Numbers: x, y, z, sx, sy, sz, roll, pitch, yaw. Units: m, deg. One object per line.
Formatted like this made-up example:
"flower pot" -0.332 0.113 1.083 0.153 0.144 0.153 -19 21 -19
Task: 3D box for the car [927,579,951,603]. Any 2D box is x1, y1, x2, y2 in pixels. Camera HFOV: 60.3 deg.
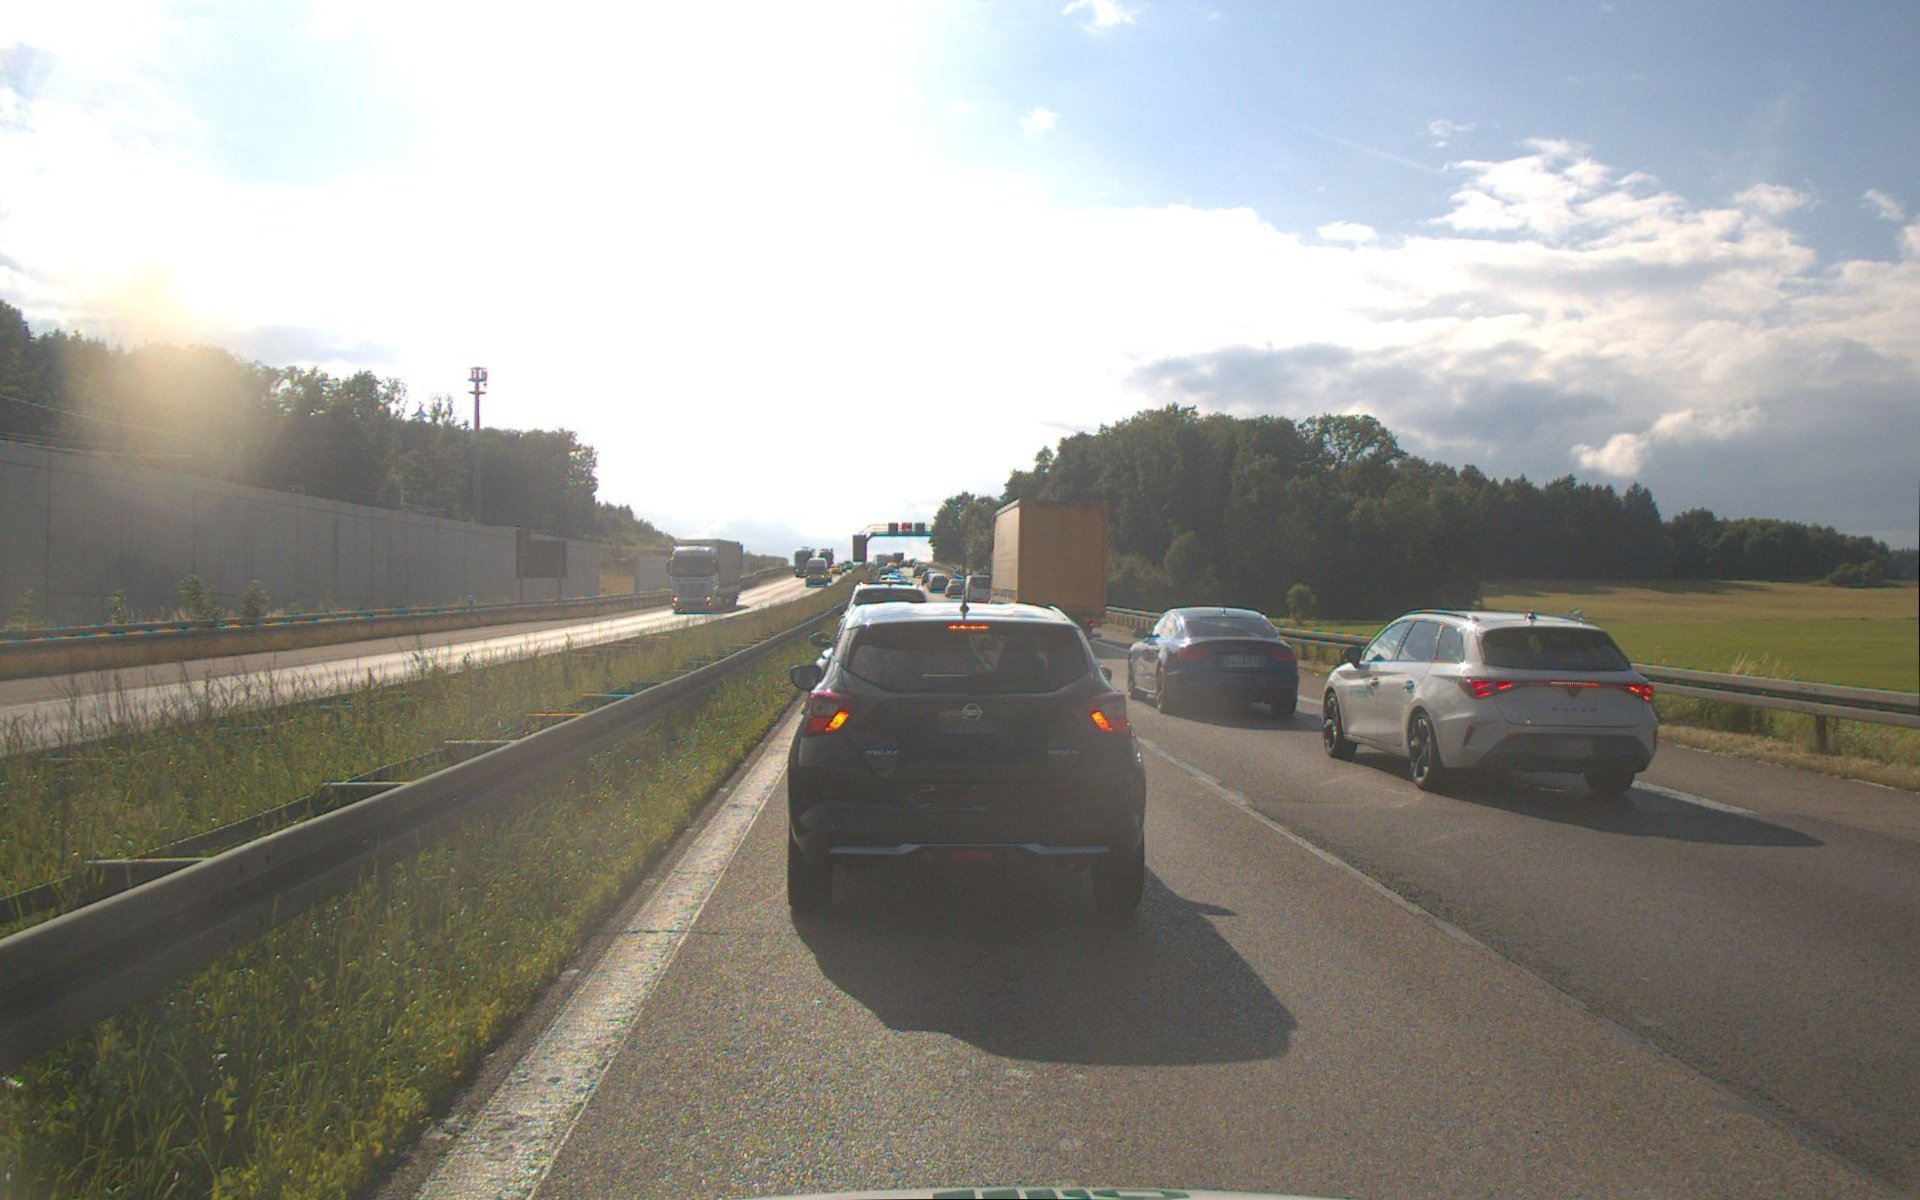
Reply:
"car" -1.917 -0.809 148.946 1.954 2.049 3.997 1 0 -3

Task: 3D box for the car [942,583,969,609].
"car" -0.375 -0.295 130.964 1.954 2.049 3.997 1 0 -3

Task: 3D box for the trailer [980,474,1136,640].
"trailer" 2.793 -1.176 52.142 3.478 4.535 12.714 1 0 -3

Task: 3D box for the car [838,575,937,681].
"car" -1.267 0.481 29.758 1.640 1.756 3.595 1 0 -1

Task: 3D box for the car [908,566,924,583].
"car" -5.586 -3.277 209.642 1.954 2.049 3.997 1 0 -3

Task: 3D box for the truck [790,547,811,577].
"truck" -21.646 -5.106 224.481 2.501 3.865 5.415 -1 0 -2

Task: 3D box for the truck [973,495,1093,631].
"truck" 2.462 -1.222 58.348 3.511 4.456 6.684 1 0 -3

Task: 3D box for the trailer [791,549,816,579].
"trailer" -21.872 -5.042 231.518 2.489 3.837 12.536 -1 0 -2

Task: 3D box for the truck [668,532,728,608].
"truck" -15.047 -1.633 95.469 2.585 4.169 6.998 1 0 -3

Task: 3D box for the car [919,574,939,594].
"car" -3.234 -1.700 173.650 1.954 2.049 3.997 1 0 -3

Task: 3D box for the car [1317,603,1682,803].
"car" 4.476 0.782 14.398 1.588 1.471 4.143 1 0 -4

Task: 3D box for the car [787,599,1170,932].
"car" 0.059 0.741 9.000 1.675 1.451 3.377 1 0 -1

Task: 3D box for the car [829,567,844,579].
"car" -17.549 -3.806 235.064 1.953 1.512 4.397 1 0 -1

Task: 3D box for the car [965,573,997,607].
"car" 1.153 -0.521 90.519 1.633 1.785 3.326 1 0 -1

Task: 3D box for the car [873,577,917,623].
"car" -3.044 0.021 76.688 1.954 2.049 3.997 1 0 -3

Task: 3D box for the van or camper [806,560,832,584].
"van or camper" -14.280 -2.780 167.408 2.122 2.244 6.257 1 0 -1

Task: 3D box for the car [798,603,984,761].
"car" -0.661 0.742 16.607 1.640 1.391 3.595 1 0 -1

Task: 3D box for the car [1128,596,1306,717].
"car" 3.445 0.722 22.879 1.712 1.501 4.145 1 0 -1
